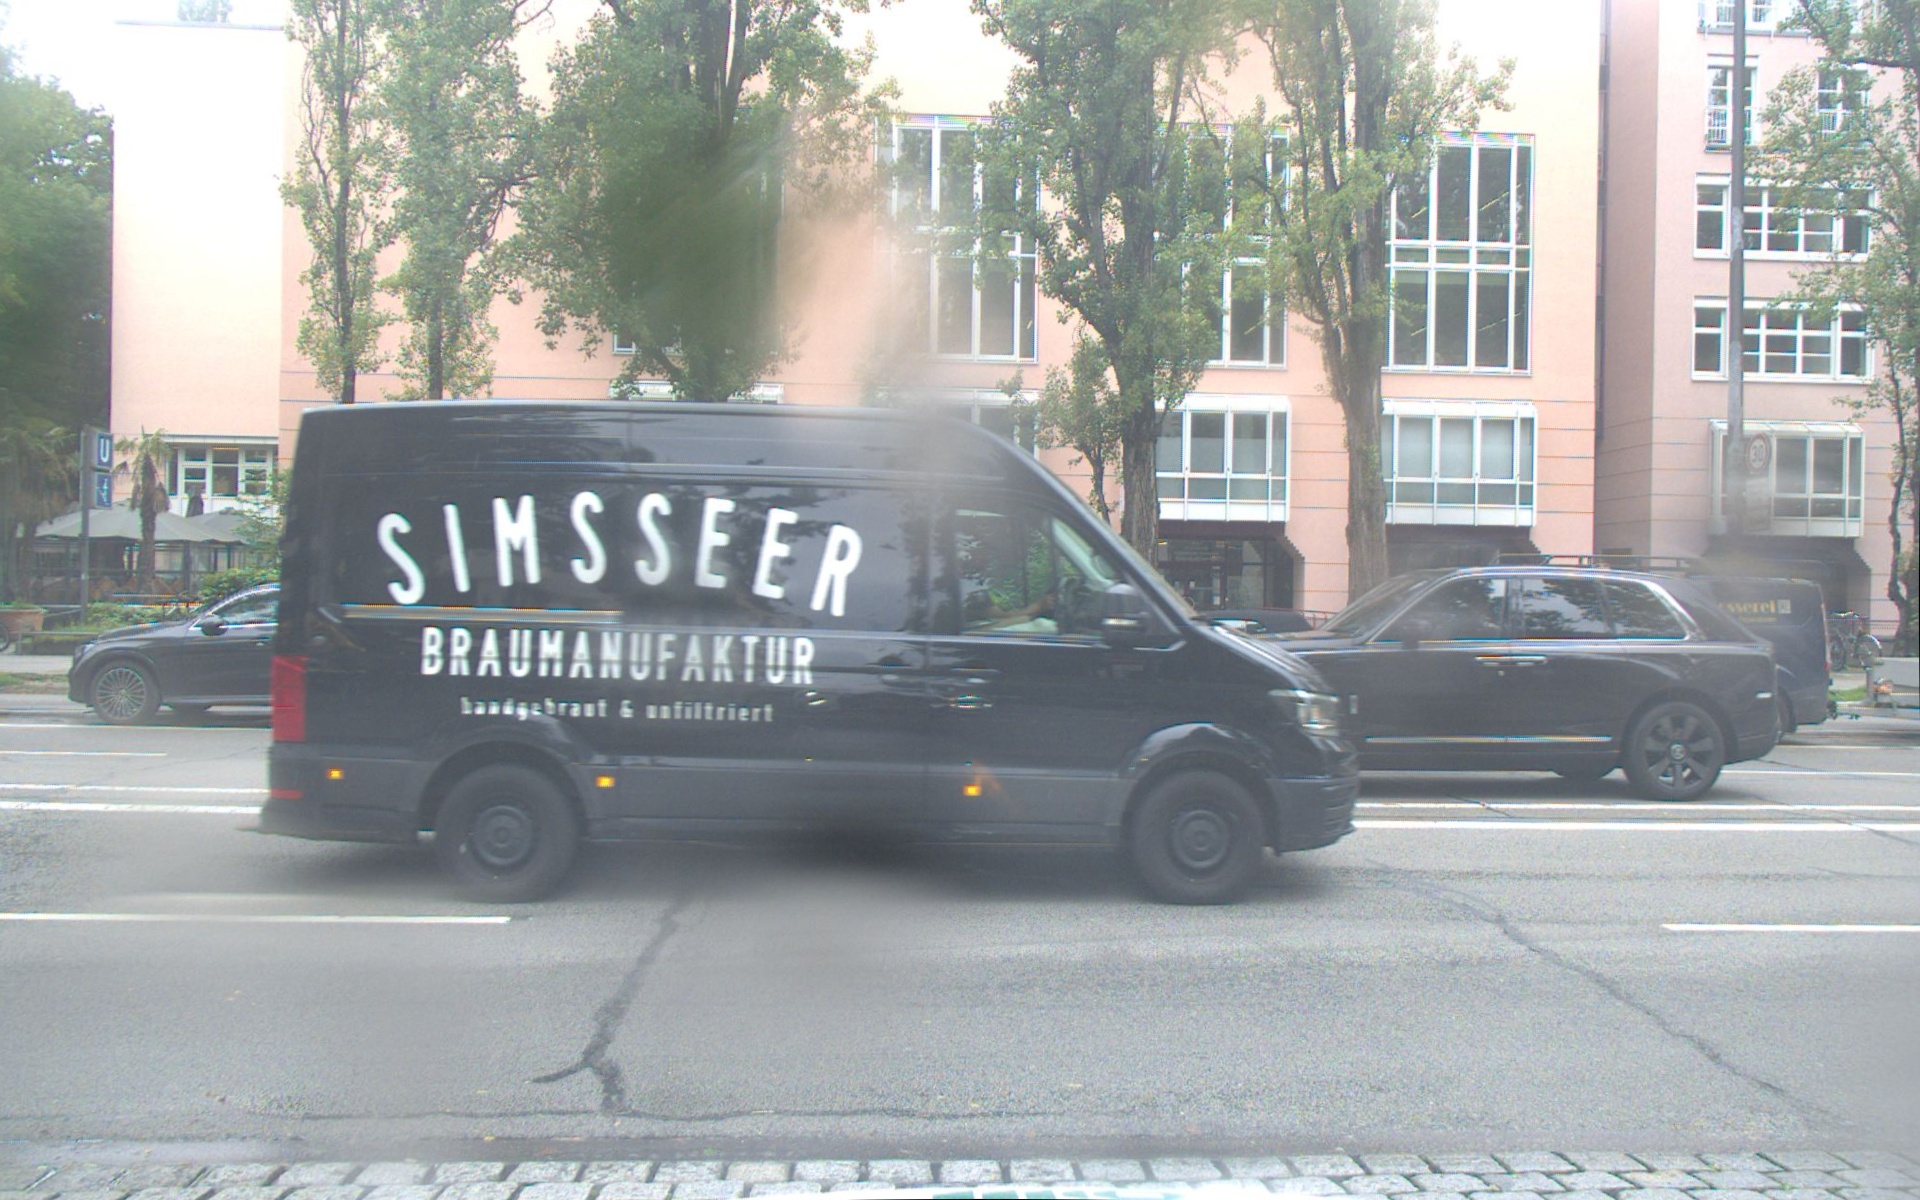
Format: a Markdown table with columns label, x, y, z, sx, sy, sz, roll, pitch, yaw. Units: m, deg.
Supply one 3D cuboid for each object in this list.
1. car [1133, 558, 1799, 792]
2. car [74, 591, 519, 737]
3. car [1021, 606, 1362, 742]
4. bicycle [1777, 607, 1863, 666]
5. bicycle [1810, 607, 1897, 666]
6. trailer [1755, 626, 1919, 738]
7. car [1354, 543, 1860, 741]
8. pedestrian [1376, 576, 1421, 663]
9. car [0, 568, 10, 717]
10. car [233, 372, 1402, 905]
| label | x | y | z | sx | sy | sz | roll | pitch | yaw |
| --- | --- | --- | --- | --- | --- | --- | --- | --- | --- |
| car | 4.079 | 0.623 | 13.825 | 4.949 | 1.779 | 1.997 | 1 | -2 | -6 |
| car | -7.541 | 0.709 | 19.142 | 4.410 | 1.555 | 1.792 | 1 | 1 | -3 |
| car | 2.652 | 0.836 | 19.534 | 3.782 | 1.474 | 1.678 | 1 | 1 | -1 |
| bicycle | 17.763 | 0.743 | 34.204 | 0.660 | 1.144 | 1.988 | 0 | 1 | -2 |
| bicycle | 18.476 | 0.743 | 34.242 | 0.660 | 1.144 | 1.988 | 0 | 1 | -2 |
| trailer | 13.344 | 0.989 | 20.456 | 5.898 | 1.220 | 2.404 | 1 | 1 | -3 |
| car | 7.720 | 0.479 | 20.069 | 5.370 | 2.235 | 2.022 | 1 | 1 | -3 |
| pedestrian | 8.924 | 0.389 | 33.688 | 0.692 | 1.743 | 0.732 | 1 | 0 | 0 |
| car | -13.305 | 0.481 | 18.728 | 3.985 | 1.762 | 1.792 | 1 | -1 | -5 |
| car | -0.709 | 0.179 | 9.304 | 5.795 | 2.600 | 2.081 | 0 | 2 | -4 |
